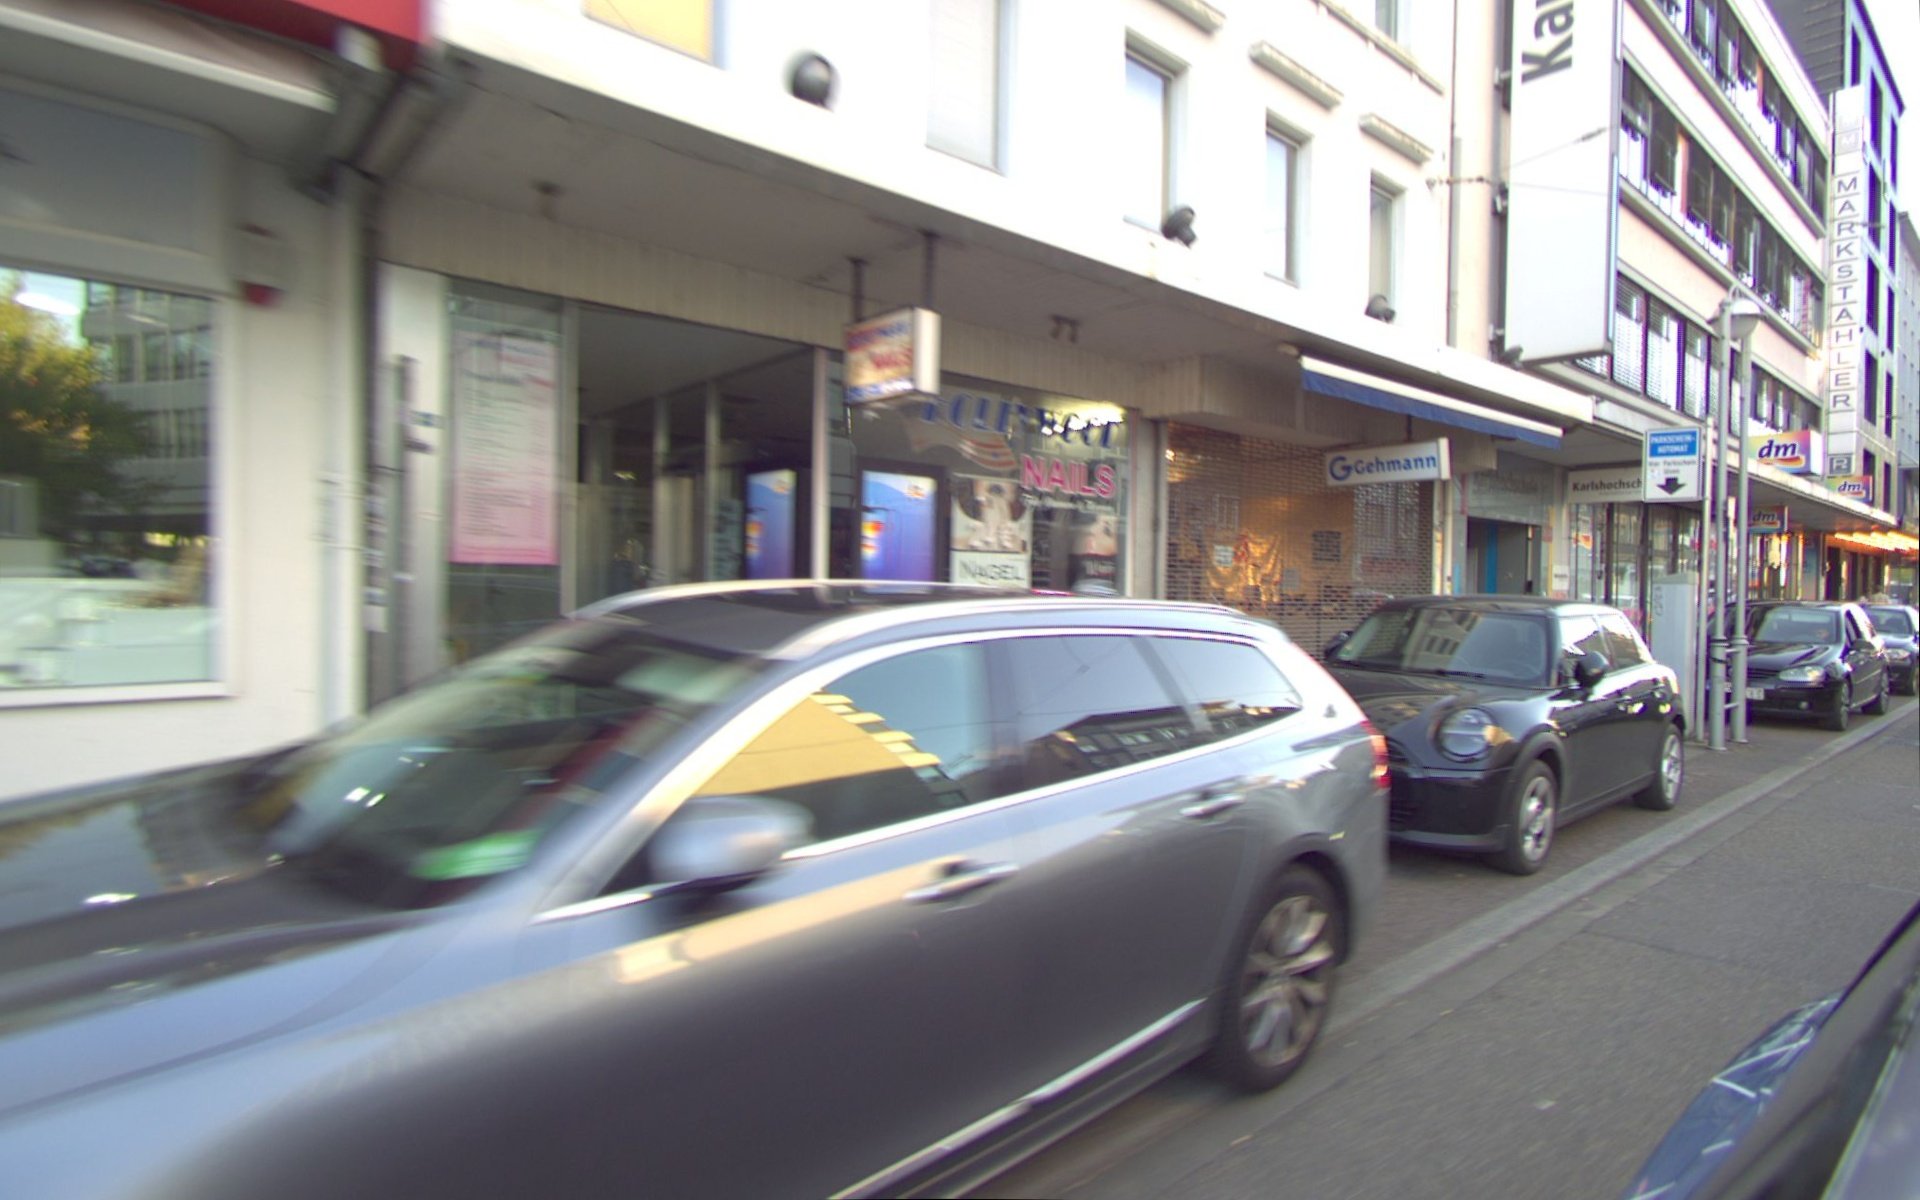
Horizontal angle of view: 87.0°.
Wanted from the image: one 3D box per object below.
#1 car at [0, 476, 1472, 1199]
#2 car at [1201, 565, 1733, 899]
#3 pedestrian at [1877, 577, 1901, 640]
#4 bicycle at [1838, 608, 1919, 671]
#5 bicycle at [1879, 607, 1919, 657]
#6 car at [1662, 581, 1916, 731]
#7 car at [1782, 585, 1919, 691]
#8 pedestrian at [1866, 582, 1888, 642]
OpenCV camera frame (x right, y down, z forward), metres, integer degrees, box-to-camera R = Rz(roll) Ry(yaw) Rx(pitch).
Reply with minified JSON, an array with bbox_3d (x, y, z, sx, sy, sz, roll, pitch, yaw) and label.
[{"bbox_3d":[-0.523,0.589,2.709,4.631,1.530,1.793,0,3,-42],"label":"car"},{"bbox_3d":[3.514,0.599,6.689,3.964,1.530,1.689,0,3,-40],"label":"car"},{"bbox_3d":[28.655,0.246,31.214,0.414,1.922,0.456,1,1,-41],"label":"pedestrian"},{"bbox_3d":[18.376,0.776,19.681,0.665,1.152,1.888,0,1,-43],"label":"bicycle"},{"bbox_3d":[22.617,0.778,23.423,0.665,1.090,1.888,0,3,-43],"label":"bicycle"},{"bbox_3d":[10.508,0.587,12.730,4.094,1.530,1.724,0,3,-40],"label":"car"},{"bbox_3d":[15.608,0.570,17.210,4.182,1.530,1.748,0,3,-40],"label":"car"},{"bbox_3d":[29.564,0.379,32.625,0.414,1.922,0.452,1,1,-41],"label":"pedestrian"}]
